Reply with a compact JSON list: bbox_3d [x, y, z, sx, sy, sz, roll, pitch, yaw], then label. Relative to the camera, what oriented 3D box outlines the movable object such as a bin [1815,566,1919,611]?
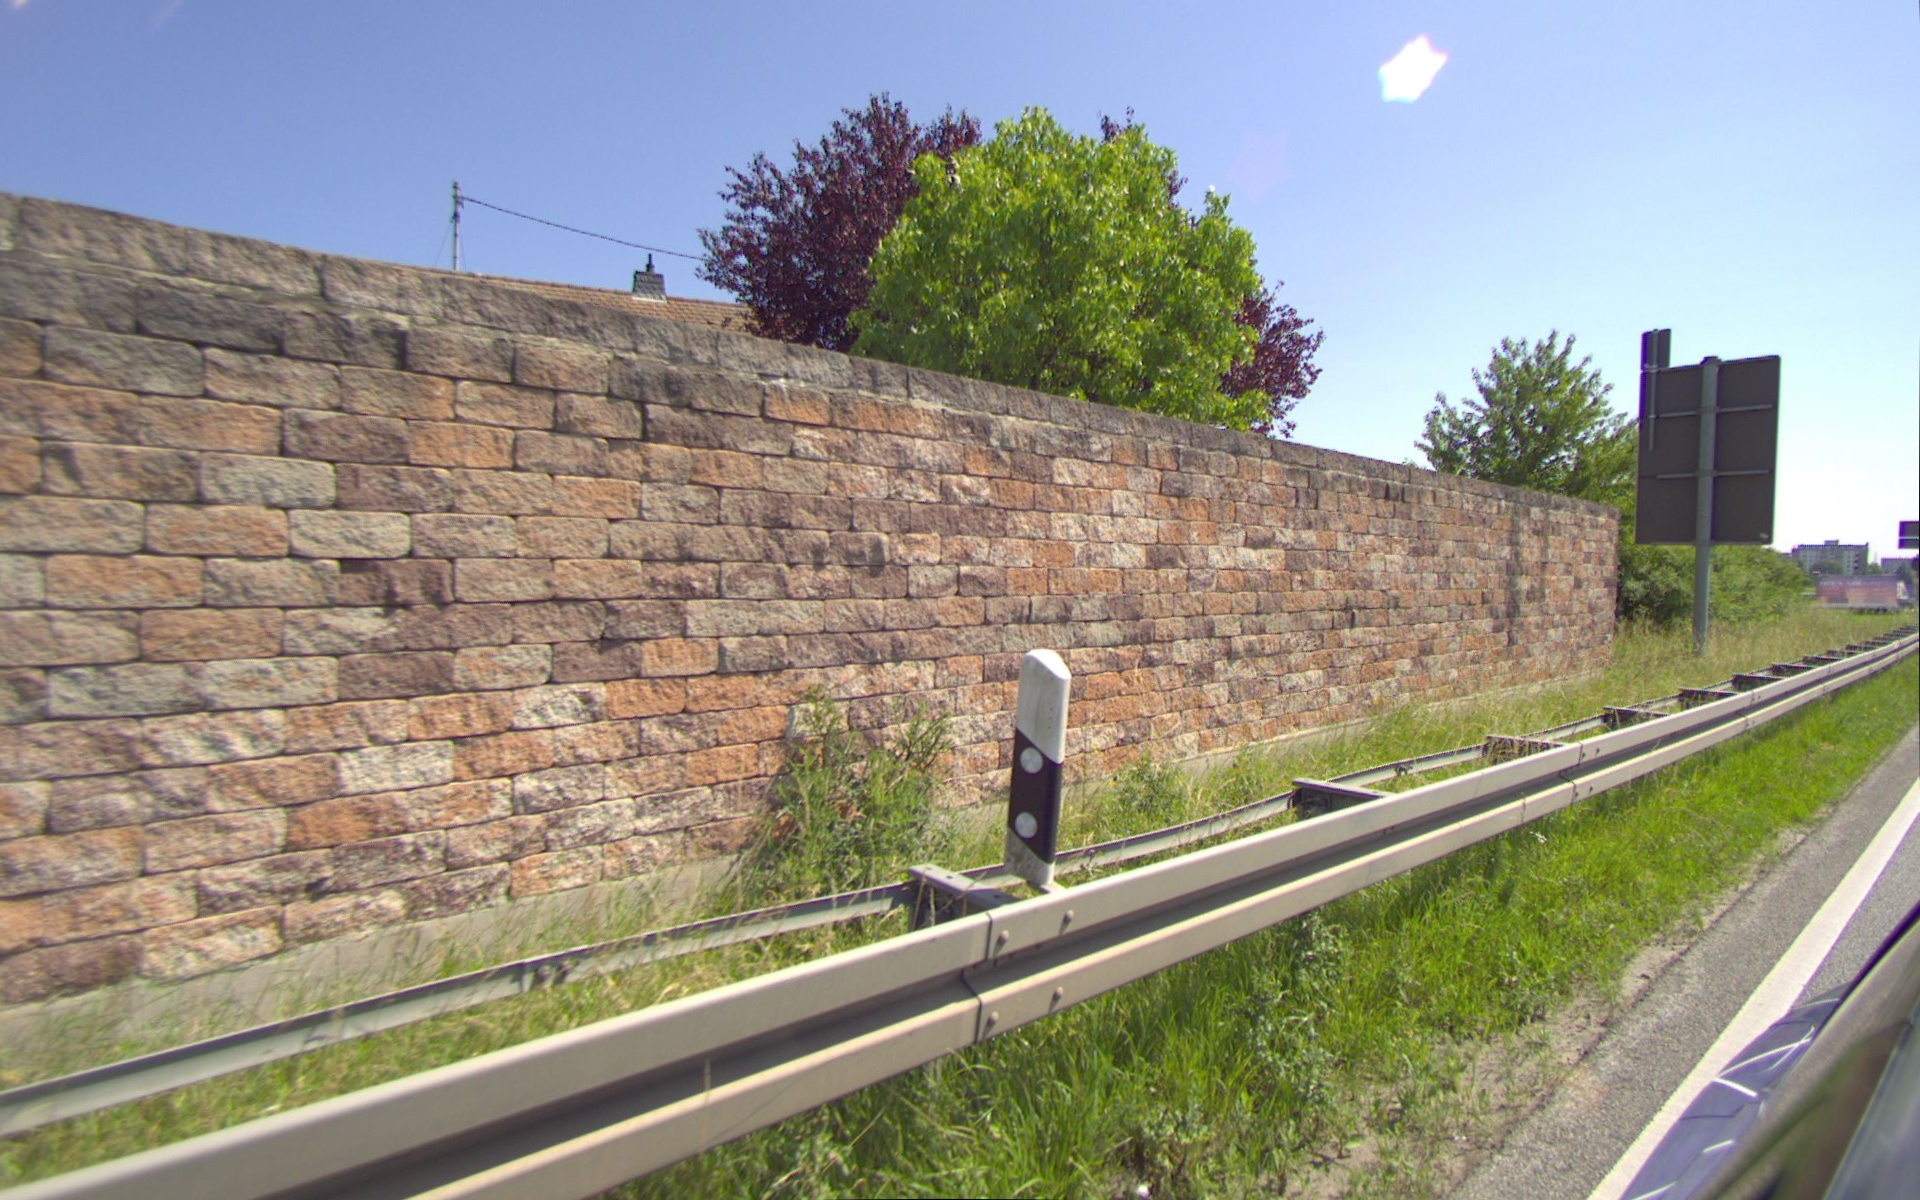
[{"bbox_3d":[48.446,-0.634,54.142,4.093,2.360,1.258,1,1,43],"label":"movable object such as a bin"}]
